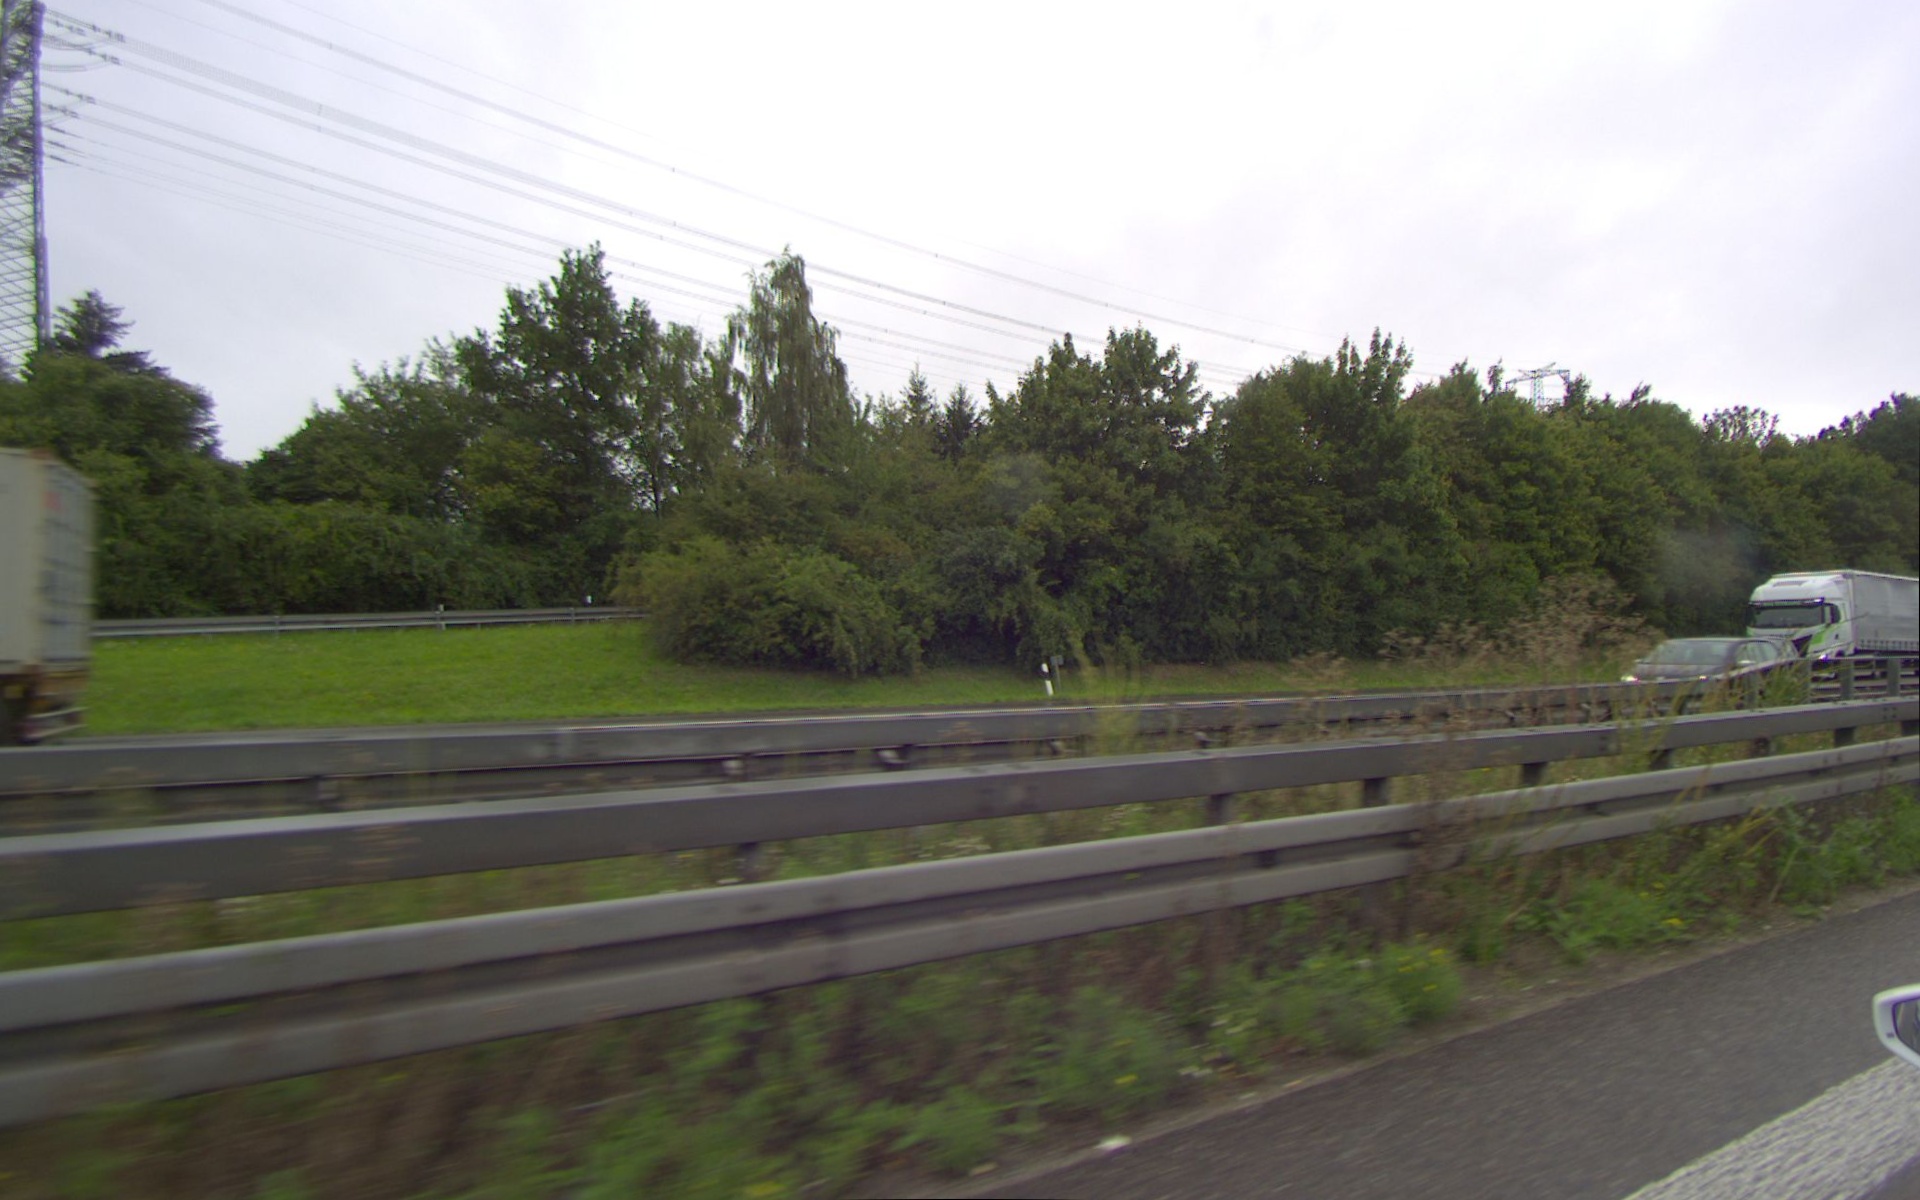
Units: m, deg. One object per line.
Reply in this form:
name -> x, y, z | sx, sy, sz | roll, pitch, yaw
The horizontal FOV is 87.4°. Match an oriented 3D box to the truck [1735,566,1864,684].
truck -> 32.286, 0.955, 38.645 | 3.953, 4.293, 2.631 | 1, -1, -30

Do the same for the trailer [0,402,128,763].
trailer -> -14.957, -0.229, 10.577 | 9.093, 4.108, 2.749 | 1, -3, -31

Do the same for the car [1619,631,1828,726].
car -> 13.909, 1.352, 18.257 | 3.953, 1.562, 1.656 | 1, -2, -31

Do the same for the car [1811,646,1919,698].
car -> 28.589, 2.191, 31.237 | 4.461, 1.513, 1.866 | 2, -3, -30

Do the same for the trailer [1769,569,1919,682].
trailer -> 38.992, 1.113, 42.594 | 13.747, 4.293, 2.631 | 1, -1, -30
